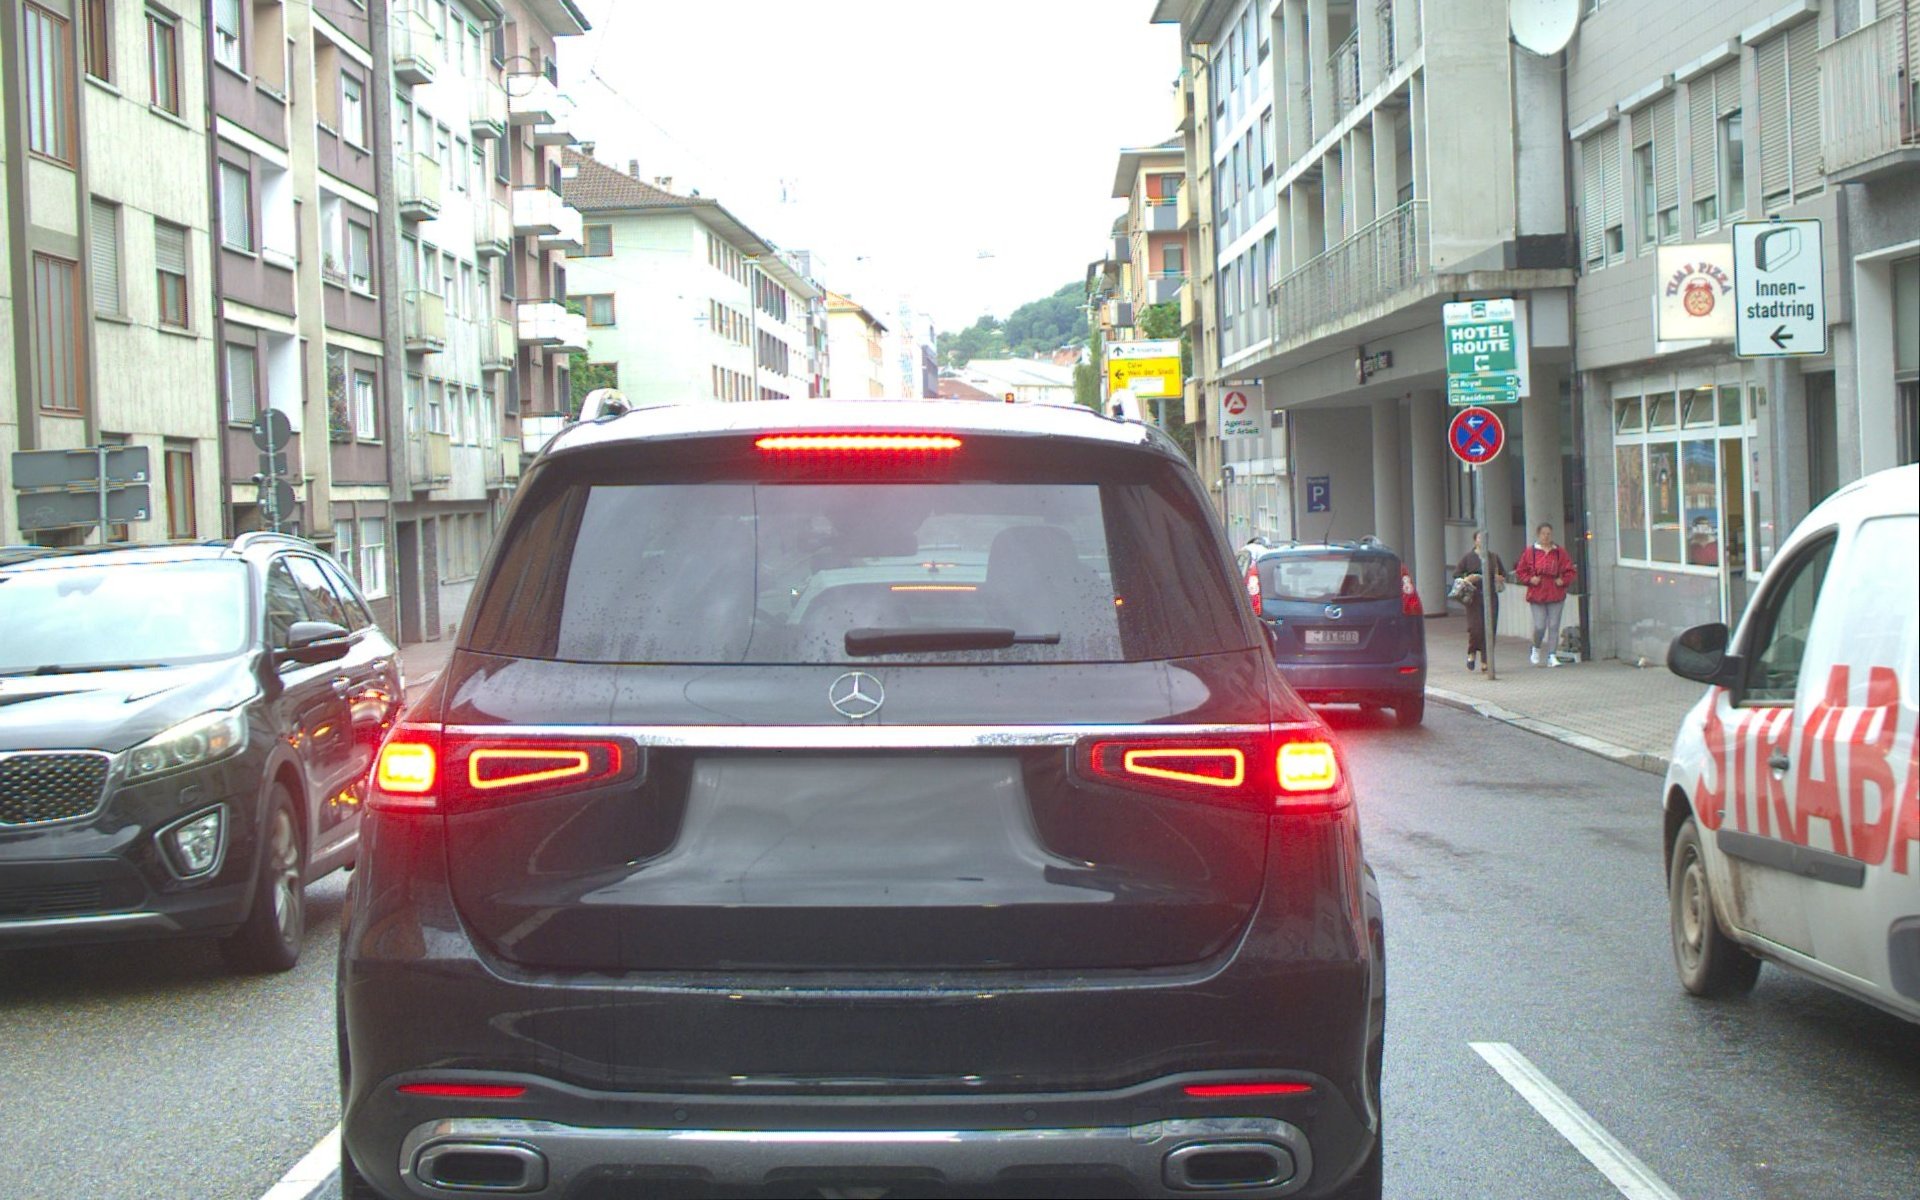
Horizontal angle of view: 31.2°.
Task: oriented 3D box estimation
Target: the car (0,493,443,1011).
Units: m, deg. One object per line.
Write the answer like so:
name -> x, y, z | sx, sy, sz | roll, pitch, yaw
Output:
car -> -3.434, 0.515, 14.014 | 1.836, 1.721, 4.475 | -4, 1, 0

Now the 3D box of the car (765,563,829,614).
car -> -4.909, -0.366, 103.505 | 1.767, 1.341, 3.889 | -5, 1, -3

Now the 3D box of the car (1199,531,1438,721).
car -> 3.177, 0.182, 31.157 | 1.808, 1.600, 4.212 | 0, 1, 1

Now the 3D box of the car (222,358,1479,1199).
car -> -0.221, 0.489, 7.602 | 2.025, 1.799, 4.000 | 1, 1, -1

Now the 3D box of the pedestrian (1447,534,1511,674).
pedestrian -> 5.728, 0.041, 37.962 | 0.506, 1.495, 0.562 | -4, 1, -1

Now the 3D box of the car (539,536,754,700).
car -> -3.669, 0.160, 41.048 | 2.126, 1.715, 4.818 | -3, 1, -1

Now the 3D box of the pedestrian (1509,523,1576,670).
pedestrian -> 6.439, -0.047, 37.990 | 0.560, 1.573, 0.526 | -4, 1, 2

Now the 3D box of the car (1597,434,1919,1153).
car -> 3.309, 0.452, 10.031 | 1.940, 1.769, 4.746 | 0, 1, -1

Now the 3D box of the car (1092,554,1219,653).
car -> 2.992, 0.028, 53.265 | 1.621, 1.425, 4.312 | 1, 1, -1
